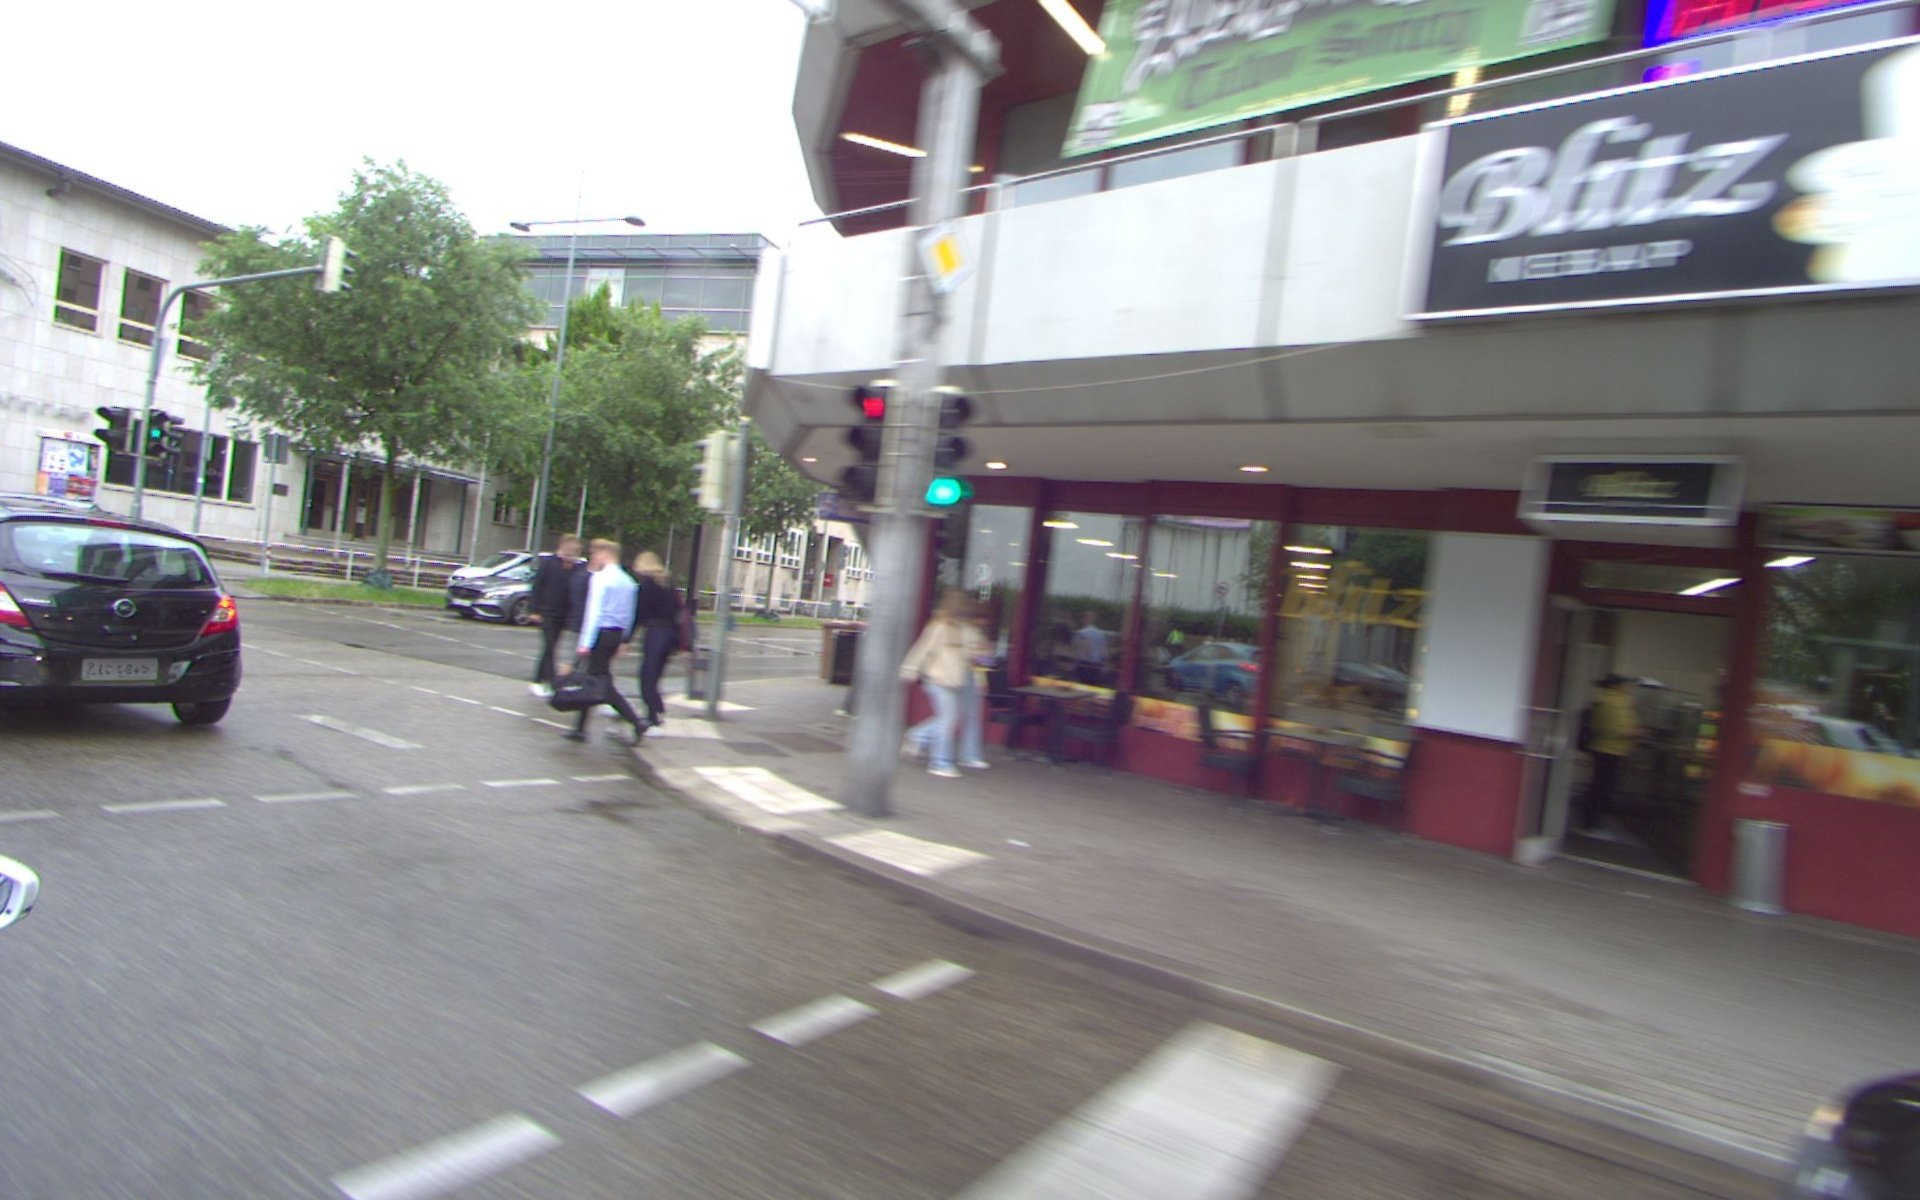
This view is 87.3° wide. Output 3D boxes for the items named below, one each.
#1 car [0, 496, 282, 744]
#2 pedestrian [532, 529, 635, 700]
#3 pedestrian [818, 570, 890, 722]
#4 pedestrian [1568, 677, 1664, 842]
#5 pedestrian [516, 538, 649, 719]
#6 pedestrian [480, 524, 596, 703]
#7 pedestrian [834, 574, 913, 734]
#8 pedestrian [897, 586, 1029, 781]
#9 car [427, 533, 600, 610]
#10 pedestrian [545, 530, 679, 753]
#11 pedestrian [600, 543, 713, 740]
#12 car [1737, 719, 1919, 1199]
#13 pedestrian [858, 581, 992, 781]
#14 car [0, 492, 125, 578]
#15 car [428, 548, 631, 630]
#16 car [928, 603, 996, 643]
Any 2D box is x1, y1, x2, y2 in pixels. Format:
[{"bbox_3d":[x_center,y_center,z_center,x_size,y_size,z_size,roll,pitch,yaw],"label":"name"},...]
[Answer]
[{"bbox_3d":[-6.973,-0.007,7.417,3.678,1.474,1.712,7,-1,30],"label":"car"},{"bbox_3d":[-4.440,0.179,11.882,0.665,1.919,0.733,5,0,33],"label":"pedestrian"},{"bbox_3d":[-1.288,0.561,12.258,0.503,1.784,0.526,5,-1,34],"label":"pedestrian"},{"bbox_3d":[6.348,1.531,9.756,0.500,1.506,0.459,4,0,-5],"label":"pedestrian"},{"bbox_3d":[-4.066,0.317,10.851,0.873,1.801,0.750,8,0,30],"label":"pedestrian"},{"bbox_3d":[-4.771,0.156,11.388,0.777,1.925,0.759,5,0,34],"label":"pedestrian"},{"bbox_3d":[-1.000,0.629,11.662,0.485,1.784,0.595,5,-1,34],"label":"pedestrian"},{"bbox_3d":[0.021,0.780,9.789,0.956,1.728,0.588,7,2,36],"label":"pedestrian"},{"bbox_3d":[-13.337,-0.798,30.364,1.823,1.781,4.606,6,-1,25],"label":"car"},{"bbox_3d":[-3.080,0.354,8.895,0.836,1.869,0.621,4,-1,40],"label":"pedestrian"},{"bbox_3d":[-2.905,0.396,9.647,0.668,1.794,0.621,4,-1,40],"label":"pedestrian"},{"bbox_3d":[3.306,1.171,1.145,3.568,1.458,1.594,7,0,33],"label":"car"},{"bbox_3d":[-0.329,0.721,9.295,0.926,1.685,0.573,7,2,36],"label":"pedestrian"},{"bbox_3d":[-20.121,-1.491,20.980,3.968,1.494,1.980,8,-2,-38],"label":"car"},{"bbox_3d":[-9.816,-0.187,23.329,1.754,1.437,4.273,7,-1,21],"label":"car"},{"bbox_3d":[0.131,1.155,49.531,1.852,1.615,3.999,7,0,22],"label":"car"}]
